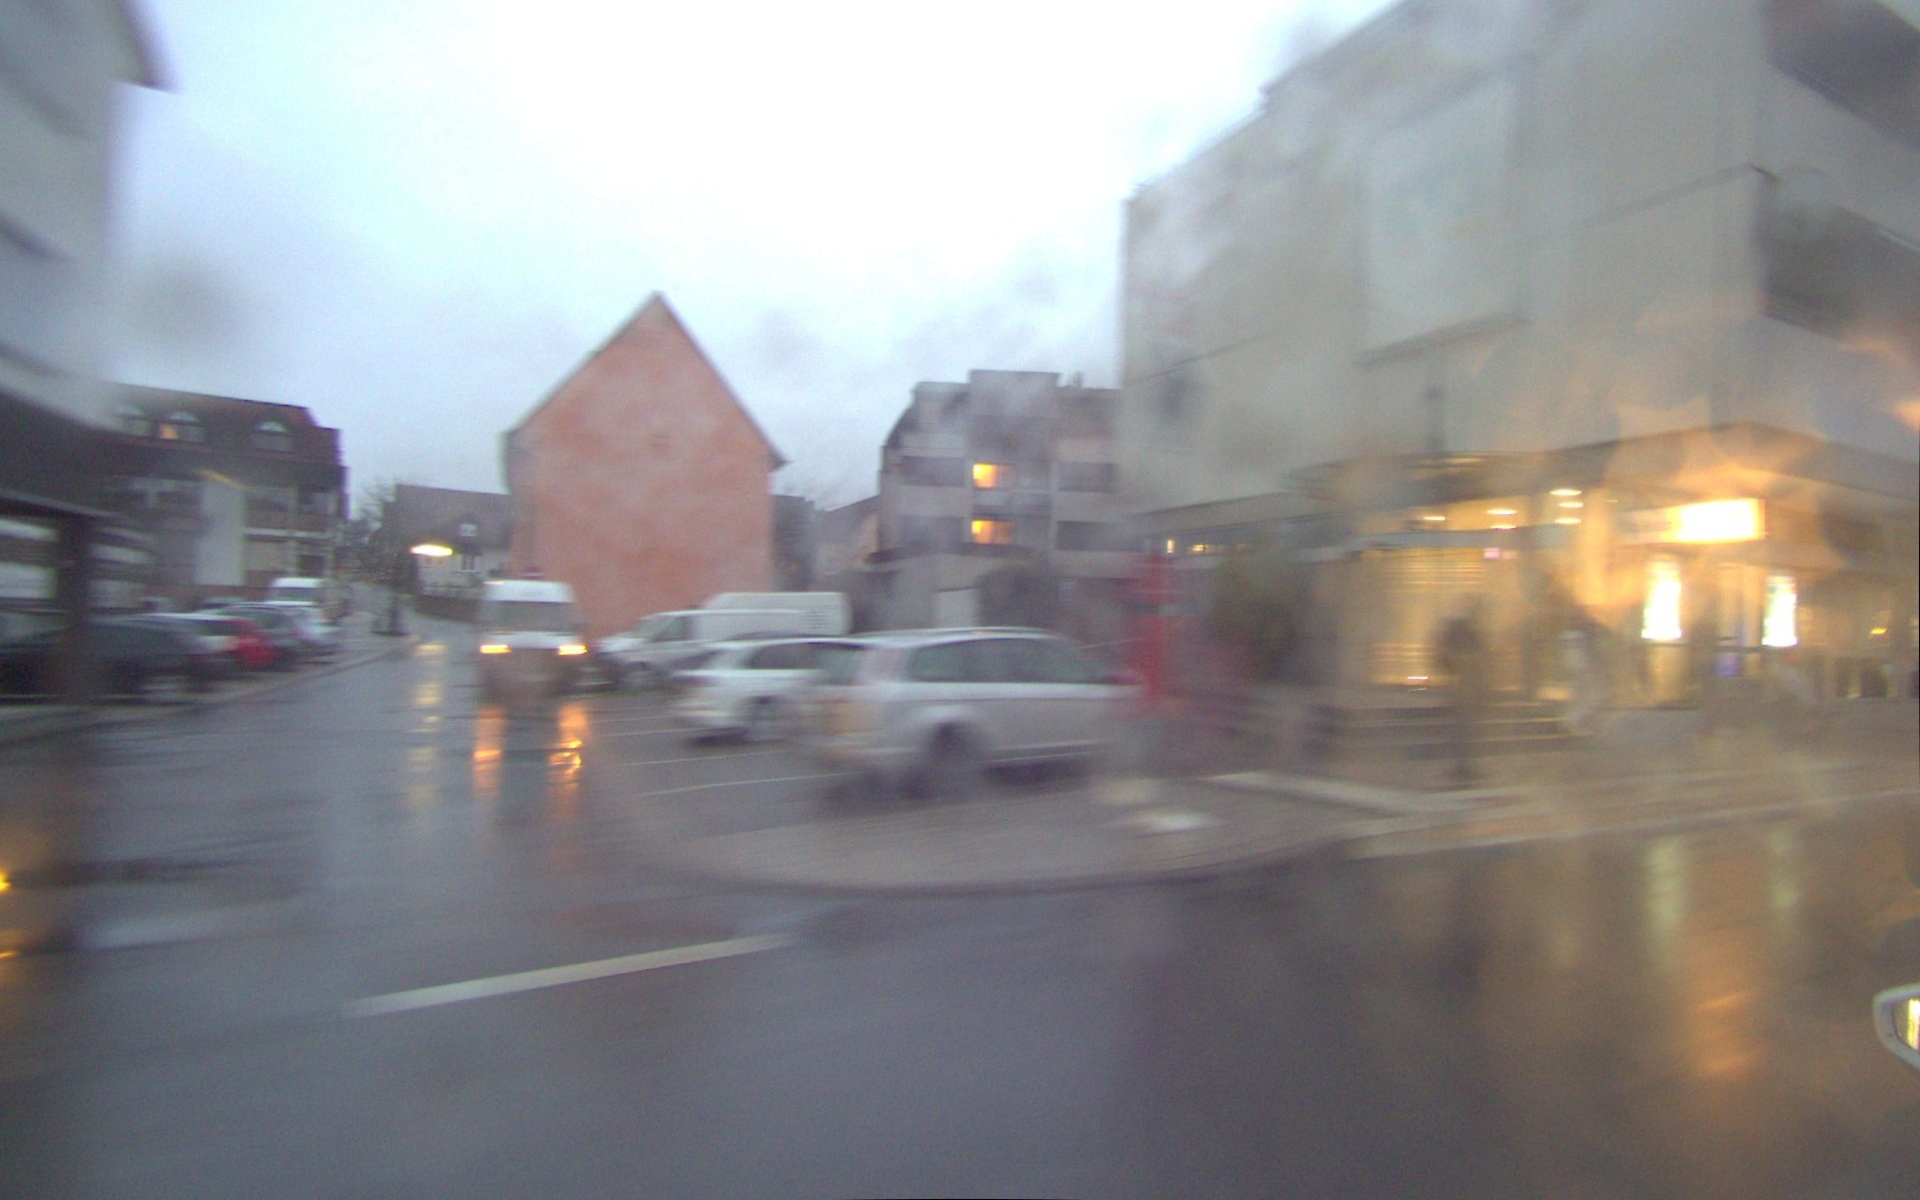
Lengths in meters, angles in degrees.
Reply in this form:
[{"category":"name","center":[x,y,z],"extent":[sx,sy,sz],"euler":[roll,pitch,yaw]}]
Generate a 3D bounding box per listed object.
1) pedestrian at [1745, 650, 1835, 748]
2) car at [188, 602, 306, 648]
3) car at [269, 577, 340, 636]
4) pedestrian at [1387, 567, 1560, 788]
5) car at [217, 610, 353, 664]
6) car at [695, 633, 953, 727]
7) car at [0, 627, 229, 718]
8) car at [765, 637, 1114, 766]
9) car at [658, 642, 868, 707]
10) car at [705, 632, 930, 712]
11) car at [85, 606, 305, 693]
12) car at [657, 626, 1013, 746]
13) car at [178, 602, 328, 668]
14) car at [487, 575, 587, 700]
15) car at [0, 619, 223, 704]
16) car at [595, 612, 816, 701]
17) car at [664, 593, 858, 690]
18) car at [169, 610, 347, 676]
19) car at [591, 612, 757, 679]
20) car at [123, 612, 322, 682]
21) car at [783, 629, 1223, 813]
[{"category":"pedestrian","center":[12.093,1.420,14.645],"extent":[0.818,1.327,0.752],"euler":[2,0,-29]},{"category":"car","center":[-30.988,1.089,43.712],"extent":[1.679,1.909,3.949],"euler":[-2,-2,42]},{"category":"car","center":[-31.977,0.374,49.146],"extent":[1.972,2.700,4.973],"euler":[1,-2,-23]},{"category":"pedestrian","center":[4.907,0.709,9.634],"extent":[1.186,1.964,0.970],"euler":[1,-1,-26]},{"category":"car","center":[-25.249,1.342,37.658],"extent":[1.679,1.909,3.949],"euler":[-2,-2,42]},{"category":"car","center":[-2.463,1.368,18.237],"extent":[4.386,1.483,1.694],"euler":[0,-1,-23]},{"category":"car","center":[-15.822,1.239,17.785],"extent":[1.679,1.483,4.425],"euler":[-2,-2,42]},{"category":"car","center":[-0.238,1.252,13.470],"extent":[4.391,1.419,1.692],"euler":[0,-1,-26]},{"category":"car","center":[-4.402,1.607,22.406],"extent":[4.383,1.251,1.695],"euler":[0,-1,-21]},{"category":"car","center":[-2.978,1.435,20.992],"extent":[4.386,1.483,1.694],"euler":[0,-1,-23]},{"category":"car","center":[-18.066,1.114,23.852],"extent":[1.679,1.895,3.949],"euler":[-2,-2,42]},{"category":"car","center":[-1.882,1.188,15.201],"extent":[4.975,1.519,2.097],"euler":[0,-1,-25]},{"category":"car","center":[-24.025,1.151,34.216],"extent":[1.679,2.122,3.949],"euler":[-2,-2,42]},{"category":"car","center":[-10.789,0.944,25.314],"extent":[1.951,2.696,6.723],"euler":[3,-3,-25]},{"category":"car","center":[-17.569,1.191,20.424],"extent":[1.679,1.559,3.949],"euler":[-2,-2,42]},{"category":"car","center":[-6.291,1.327,24.987],"extent":[5.097,1.990,1.691],"euler":[0,-1,-28]},{"category":"car","center":[-5.573,1.105,28.289],"extent":[5.094,2.525,1.692],"euler":[0,-1,-26]},{"category":"car","center":[-20.057,1.188,28.825],"extent":[1.679,1.757,3.949],"euler":[-2,-2,42]},{"category":"car","center":[-9.204,1.416,32.432],"extent":[4.933,1.991,1.789],"euler":[0,-1,-26]},{"category":"car","center":[-19.074,1.158,26.099],"extent":[1.679,1.674,3.949],"euler":[-2,-2,42]},{"category":"car","center":[0.529,1.098,10.557],"extent":[4.399,1.519,1.755],"euler":[0,-1,-31]}]
